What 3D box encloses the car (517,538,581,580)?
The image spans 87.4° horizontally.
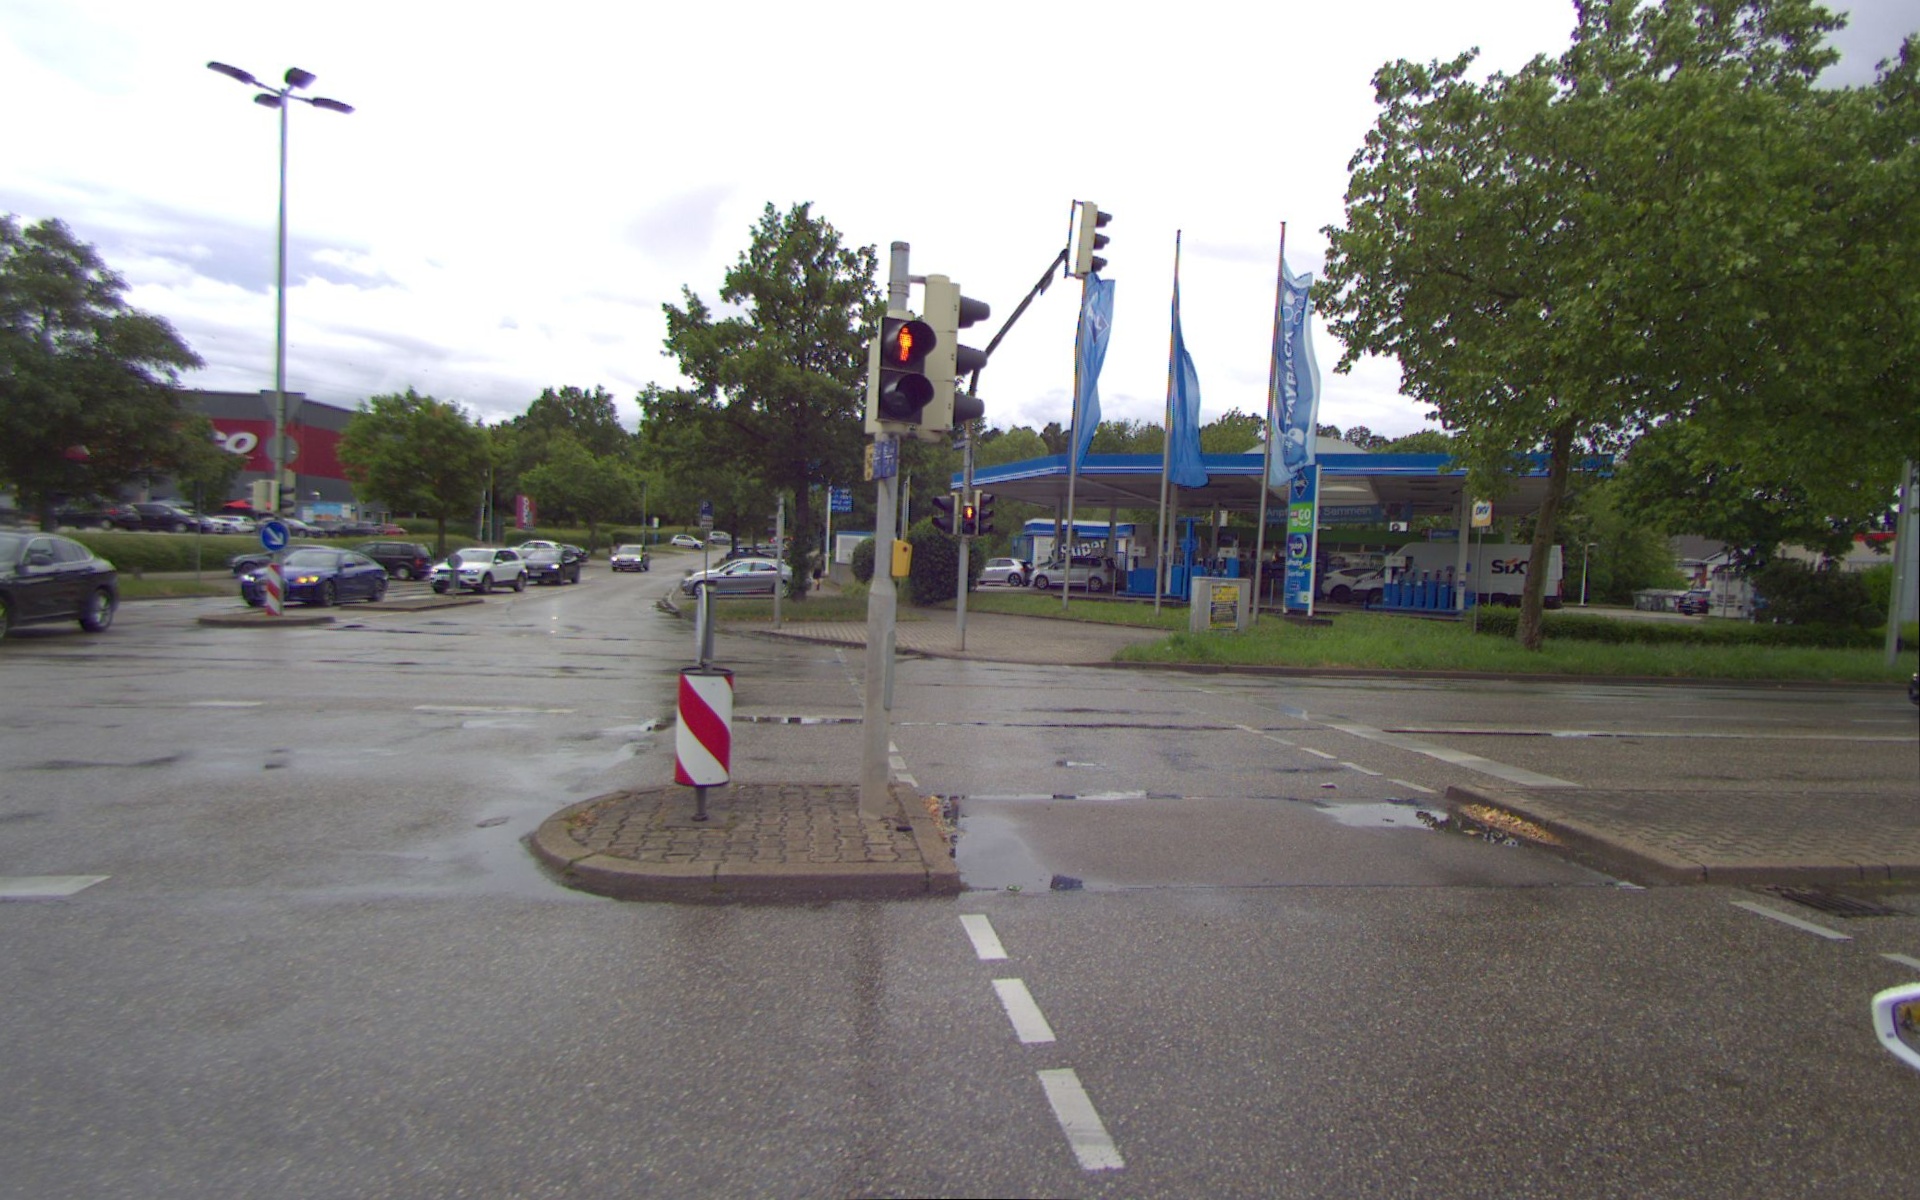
[{"bbox_3d":[-18.197,-1.821,44.637,1.571,1.720,3.536,3,3,-4],"label":"car"}]

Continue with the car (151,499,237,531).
[{"bbox_3d":[-45.445,-5.055,59.657,3.752,1.667,1.672,2,2,-2],"label":"car"}]

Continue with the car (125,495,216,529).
[{"bbox_3d":[-44.747,-4.958,56.974,3.752,1.667,1.672,2,2,-2],"label":"car"}]

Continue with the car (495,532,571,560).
[{"bbox_3d":[-27.750,-3.476,65.316,4.205,1.631,1.683,2,2,-6],"label":"car"}]

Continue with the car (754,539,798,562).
[{"bbox_3d":[-15.954,-4.324,87.251,3.642,1.773,1.695,3,2,-8],"label":"car"}]

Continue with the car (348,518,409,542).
[{"bbox_3d":[-45.694,-5.529,79.006,3.752,1.667,1.672,2,2,-2],"label":"car"}]

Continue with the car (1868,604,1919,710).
[{"bbox_3d":[16.378,0.925,14.734,4.644,1.528,1.997,2,1,-8],"label":"car"}]

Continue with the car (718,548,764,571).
[{"bbox_3d":[-17.460,-3.220,80.326,3.407,1.676,1.614,3,2,-8],"label":"car"}]

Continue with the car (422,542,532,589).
[{"bbox_3d":[-17.188,-1.229,35.959,1.864,1.574,4.000,1,2,3],"label":"car"}]

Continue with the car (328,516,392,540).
[{"bbox_3d":[-45.501,-5.454,76.229,3.752,1.667,1.672,2,2,-2],"label":"car"}]

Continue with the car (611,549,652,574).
[{"bbox_3d":[-20.894,-2.445,63.990,1.671,1.475,3.669,2,1,-5],"label":"car"}]

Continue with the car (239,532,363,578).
[{"bbox_3d":[-25.365,-1.717,38.744,3.595,1.574,1.682,2,2,-10],"label":"car"}]

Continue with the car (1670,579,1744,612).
[{"bbox_3d":[45.076,-0.287,60.644,3.948,1.862,1.986,1,1,-27],"label":"car"}]

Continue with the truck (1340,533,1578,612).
[{"bbox_3d":[18.440,-1.081,37.653,7.721,2.711,2.154,2,1,23],"label":"truck"}]

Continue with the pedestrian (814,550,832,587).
[{"bbox_3d":[-6.375,-1.459,46.783,0.796,1.684,0.885,1,2,-8],"label":"pedestrian"}]

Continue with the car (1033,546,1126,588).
[{"bbox_3d":[5.795,-1.634,48.819,4.050,1.832,1.943,3,4,26],"label":"car"}]

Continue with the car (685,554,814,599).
[{"bbox_3d":[-8.228,-0.928,39.641,4.814,1.570,1.996,2,1,-10],"label":"car"}]

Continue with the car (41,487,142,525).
[{"bbox_3d":[-44.895,-4.846,51.966,3.752,1.667,1.672,2,2,-2],"label":"car"}]

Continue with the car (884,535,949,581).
[{"bbox_3d":[-1.943,-1.822,43.871,1.786,1.821,3.683,2,2,-20],"label":"car"}]

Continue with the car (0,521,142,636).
[{"bbox_3d":[-14.456,-0.376,14.971,1.871,1.574,4.575,2,2,-17],"label":"car"}]

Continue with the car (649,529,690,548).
[{"bbox_3d":[-31.188,-6.634,107.880,3.928,1.818,1.853,2,2,-10],"label":"car"}]

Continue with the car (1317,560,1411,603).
[{"bbox_3d":[17.500,-0.793,43.523,3.498,1.603,1.686,5,3,29],"label":"car"}]

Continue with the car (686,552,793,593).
[{"bbox_3d":[-9.785,-1.213,44.847,4.505,1.610,1.926,2,2,-10],"label":"car"}]

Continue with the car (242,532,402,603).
[{"bbox_3d":[-16.670,-0.848,26.529,1.768,1.655,4.545,2,1,-8],"label":"car"}]

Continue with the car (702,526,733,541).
[{"bbox_3d":[-33.407,-9.109,138.321,3.924,1.818,1.855,2,1,-5],"label":"car"}]

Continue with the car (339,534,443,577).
[{"bbox_3d":[-25.042,-1.944,44.279,3.595,1.748,1.682,2,2,-10],"label":"car"}]

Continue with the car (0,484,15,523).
[{"bbox_3d":[-61.489,-6.007,61.426,5.537,2.334,1.825,2,2,-2],"label":"car"}]

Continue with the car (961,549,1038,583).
[{"bbox_3d":[2.220,-1.922,56.429,3.924,1.751,1.793,3,2,25],"label":"car"}]
